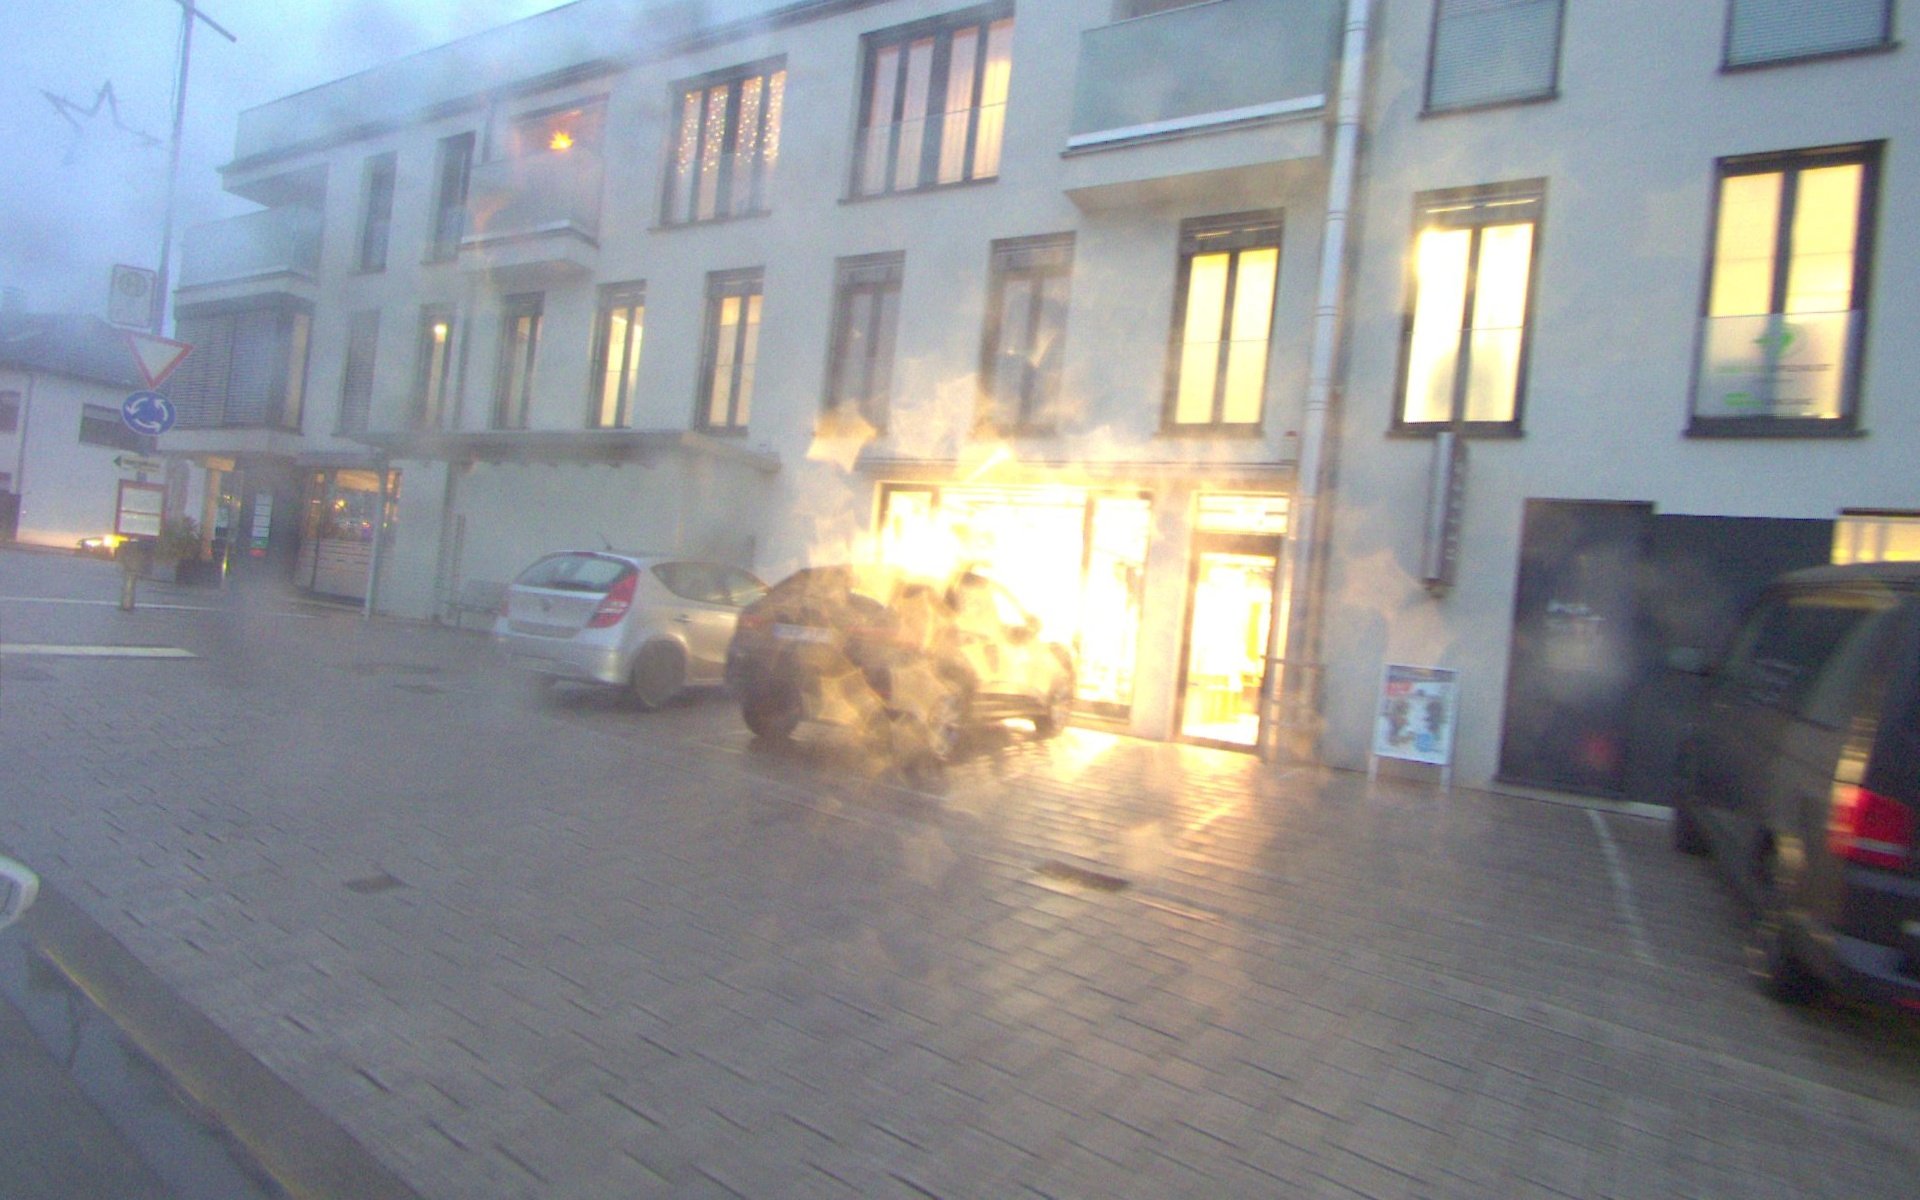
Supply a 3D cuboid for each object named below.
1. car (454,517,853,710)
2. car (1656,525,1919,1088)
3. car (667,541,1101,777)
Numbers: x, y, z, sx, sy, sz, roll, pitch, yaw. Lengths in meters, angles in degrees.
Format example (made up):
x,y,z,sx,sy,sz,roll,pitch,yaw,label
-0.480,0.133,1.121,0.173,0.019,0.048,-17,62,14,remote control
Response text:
x,y,z,sx,sy,sz,roll,pitch,yaw,label
-2.961,0.182,10.673,1.781,1.522,3.998,6,0,23,car
5.120,0.874,5.172,1.941,1.960,4.540,9,4,30,car
-0.356,0.452,9.296,1.940,1.511,4.516,5,0,25,car
